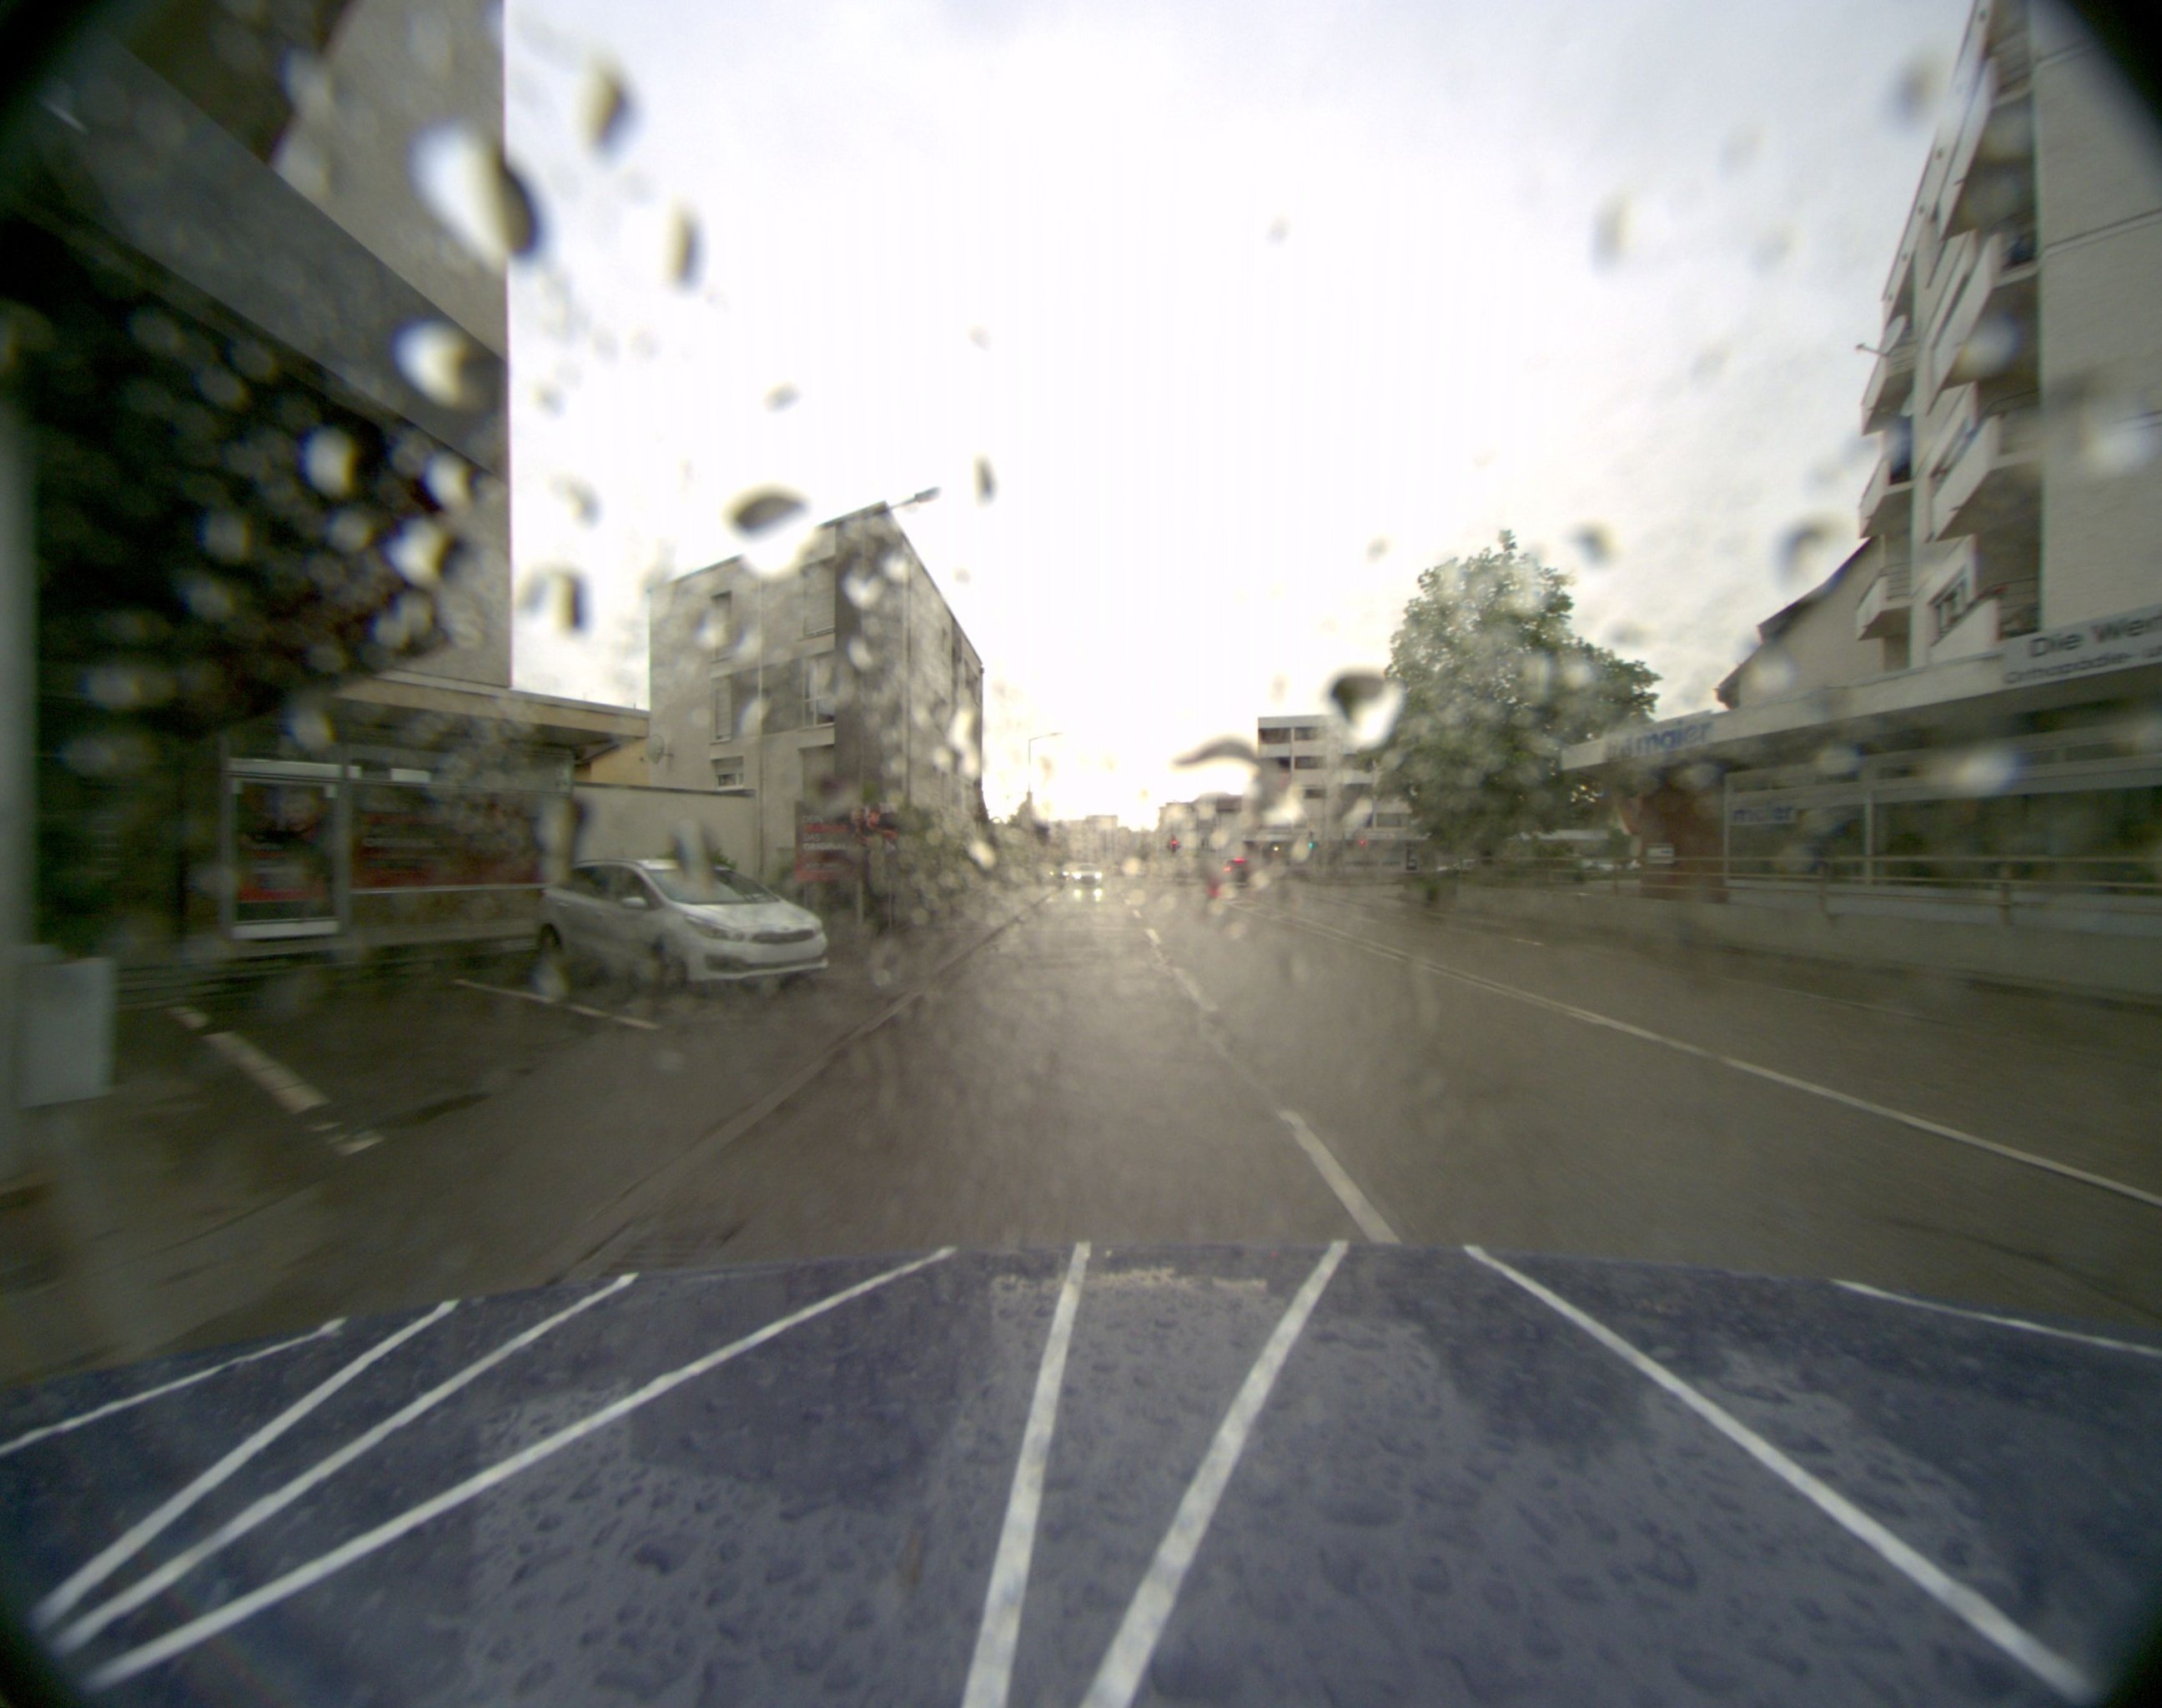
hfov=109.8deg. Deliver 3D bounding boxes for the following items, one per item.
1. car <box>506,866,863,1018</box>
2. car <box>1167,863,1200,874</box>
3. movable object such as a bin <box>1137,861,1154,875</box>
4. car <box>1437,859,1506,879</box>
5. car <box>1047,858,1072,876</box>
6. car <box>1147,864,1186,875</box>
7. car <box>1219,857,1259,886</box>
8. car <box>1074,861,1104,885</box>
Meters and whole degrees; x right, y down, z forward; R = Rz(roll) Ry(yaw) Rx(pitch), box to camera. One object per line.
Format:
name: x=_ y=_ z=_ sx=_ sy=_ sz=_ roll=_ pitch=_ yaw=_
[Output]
car: x=-4.913 y=0.909 z=9.309 sx=4.259 sy=1.485 sz=1.877 roll=-1 pitch=-2 yaw=30
car: x=14.860 y=2.097 z=110.494 sx=4.621 sy=1.487 sz=1.930 roll=0 pitch=-1 yaw=4
movable object such as a bin: x=12.713 y=2.766 z=150.030 sx=2.922 sy=2.824 sz=2.200 roll=-1 pitch=-1 yaw=18
car: x=28.762 y=1.075 z=55.990 sx=4.276 sy=1.426 sz=1.838 roll=-1 pitch=-1 yaw=34
car: x=-2.392 y=1.396 z=83.434 sx=2.001 sy=1.848 sz=3.996 roll=2 pitch=-1 yaw=-13
car: x=12.913 y=2.359 z=115.021 sx=5.466 sy=1.674 sz=2.152 roll=-1 pitch=-1 yaw=26
car: x=8.997 y=1.000 z=43.523 sx=1.806 sy=1.547 sz=4.321 roll=-1 pitch=-1 yaw=6
car: x=0.483 y=1.151 z=47.721 sx=1.829 sy=1.431 sz=4.345 roll=-1 pitch=-1 yaw=0
